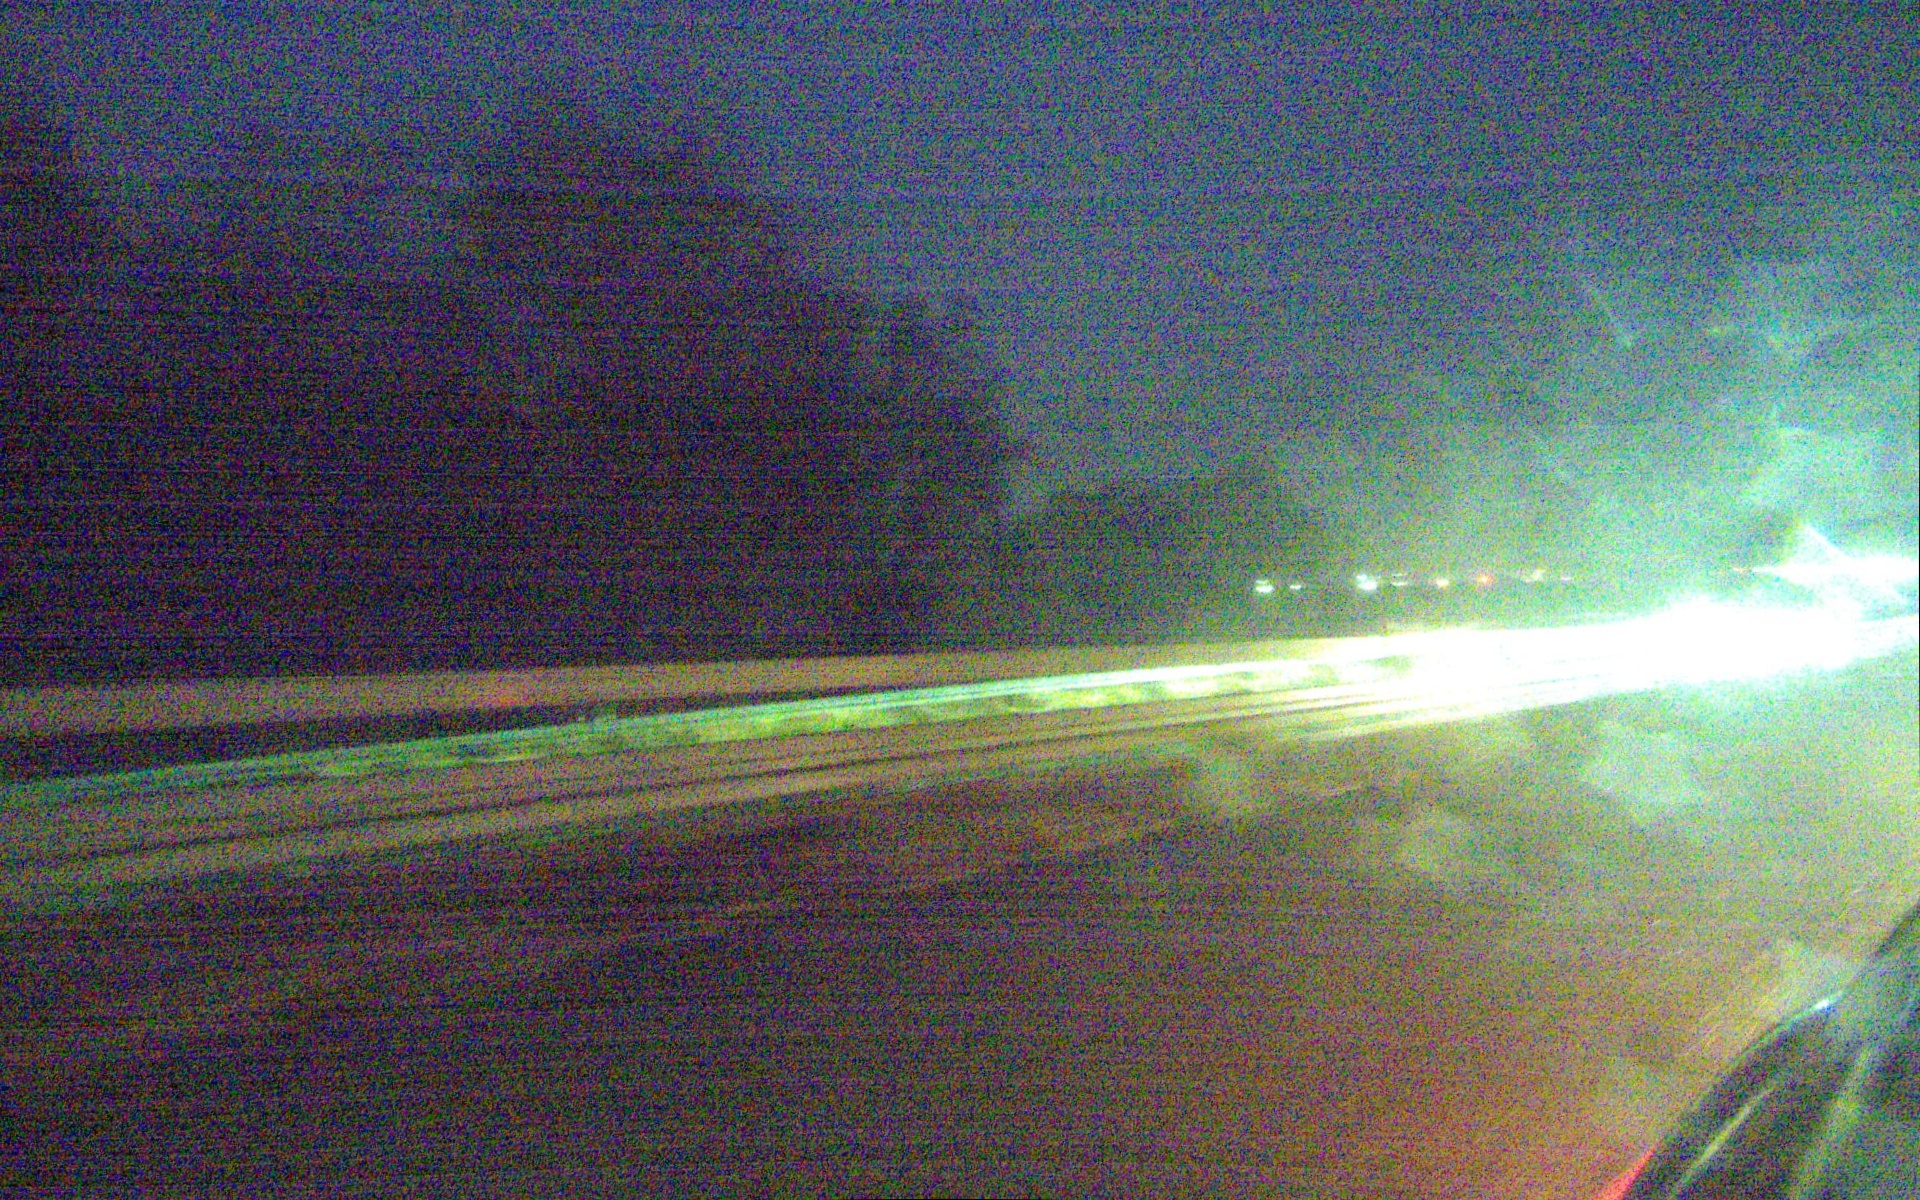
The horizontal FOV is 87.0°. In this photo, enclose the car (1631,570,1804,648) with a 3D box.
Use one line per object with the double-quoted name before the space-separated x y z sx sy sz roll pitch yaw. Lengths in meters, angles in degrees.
"car" 19.086 0.220 25.499 4.036 1.706 1.744 -3 -2 -26
